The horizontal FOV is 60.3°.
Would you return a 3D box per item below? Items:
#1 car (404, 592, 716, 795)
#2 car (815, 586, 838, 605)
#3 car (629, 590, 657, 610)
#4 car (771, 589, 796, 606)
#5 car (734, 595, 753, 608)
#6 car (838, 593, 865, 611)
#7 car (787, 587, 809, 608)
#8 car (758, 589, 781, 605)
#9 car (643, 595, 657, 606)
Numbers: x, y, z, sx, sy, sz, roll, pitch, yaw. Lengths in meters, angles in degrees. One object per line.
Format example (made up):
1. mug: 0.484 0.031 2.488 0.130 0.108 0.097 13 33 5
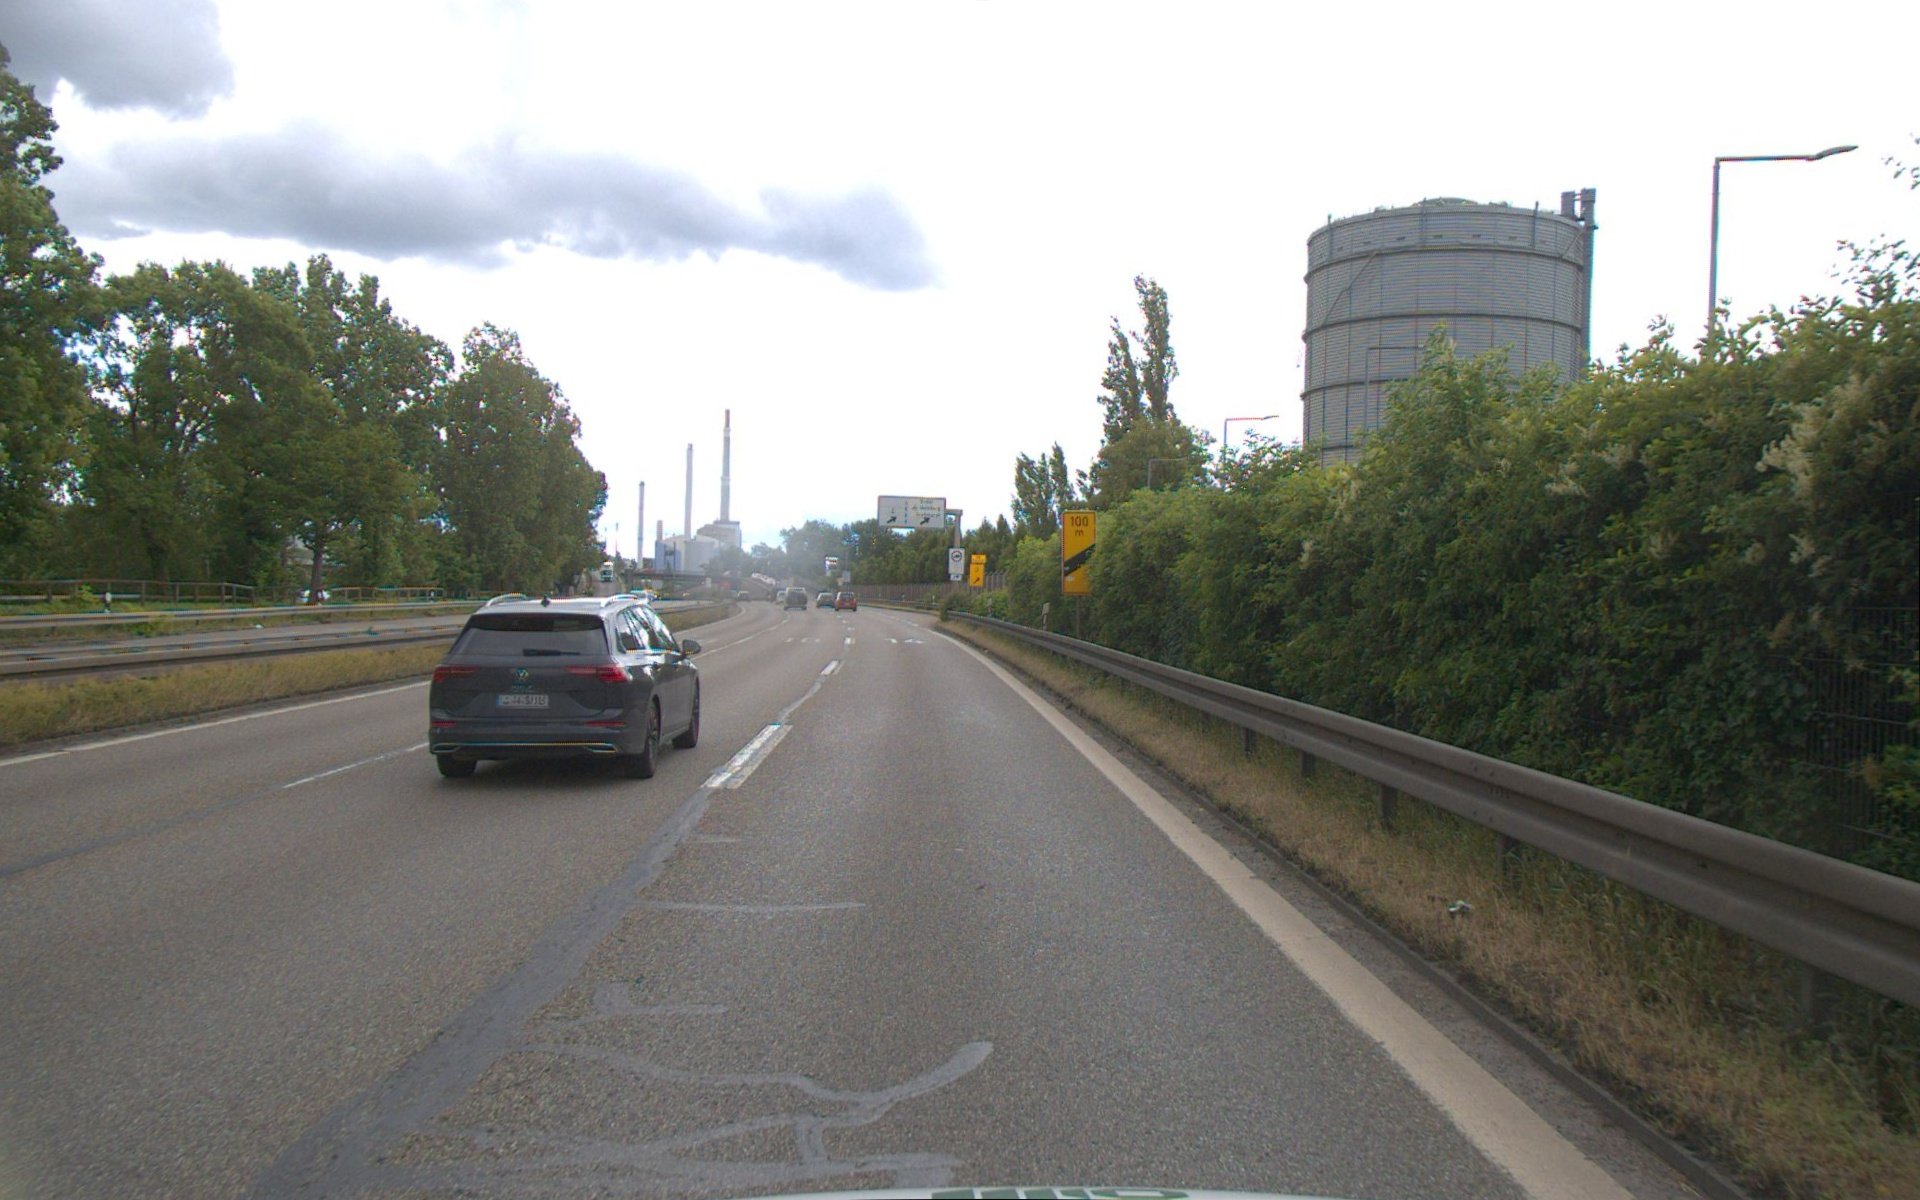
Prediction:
1. car: -3.318 0.681 14.703 1.808 1.448 4.897 2 0 -3
2. car: -13.201 -0.460 163.630 1.668 1.772 4.379 0 0 -12
3. car: -23.059 -0.017 120.338 1.583 1.410 3.729 1 0 -5
4. car: -20.301 -0.284 190.320 1.981 1.968 4.878 0 0 -16
5. car: -29.574 0.217 225.867 1.672 1.772 4.369 0 0 -19
6. car: -8.908 0.175 135.352 1.937 1.448 4.892 0 0 -7
7. car: -13.769 -0.188 140.510 1.666 1.772 3.992 0 0 -8
8. car: -23.981 -0.331 208.172 1.982 1.968 4.875 0 0 -18
9. car: -40.296 0.097 214.696 1.668 1.438 4.623 0 0 -12
